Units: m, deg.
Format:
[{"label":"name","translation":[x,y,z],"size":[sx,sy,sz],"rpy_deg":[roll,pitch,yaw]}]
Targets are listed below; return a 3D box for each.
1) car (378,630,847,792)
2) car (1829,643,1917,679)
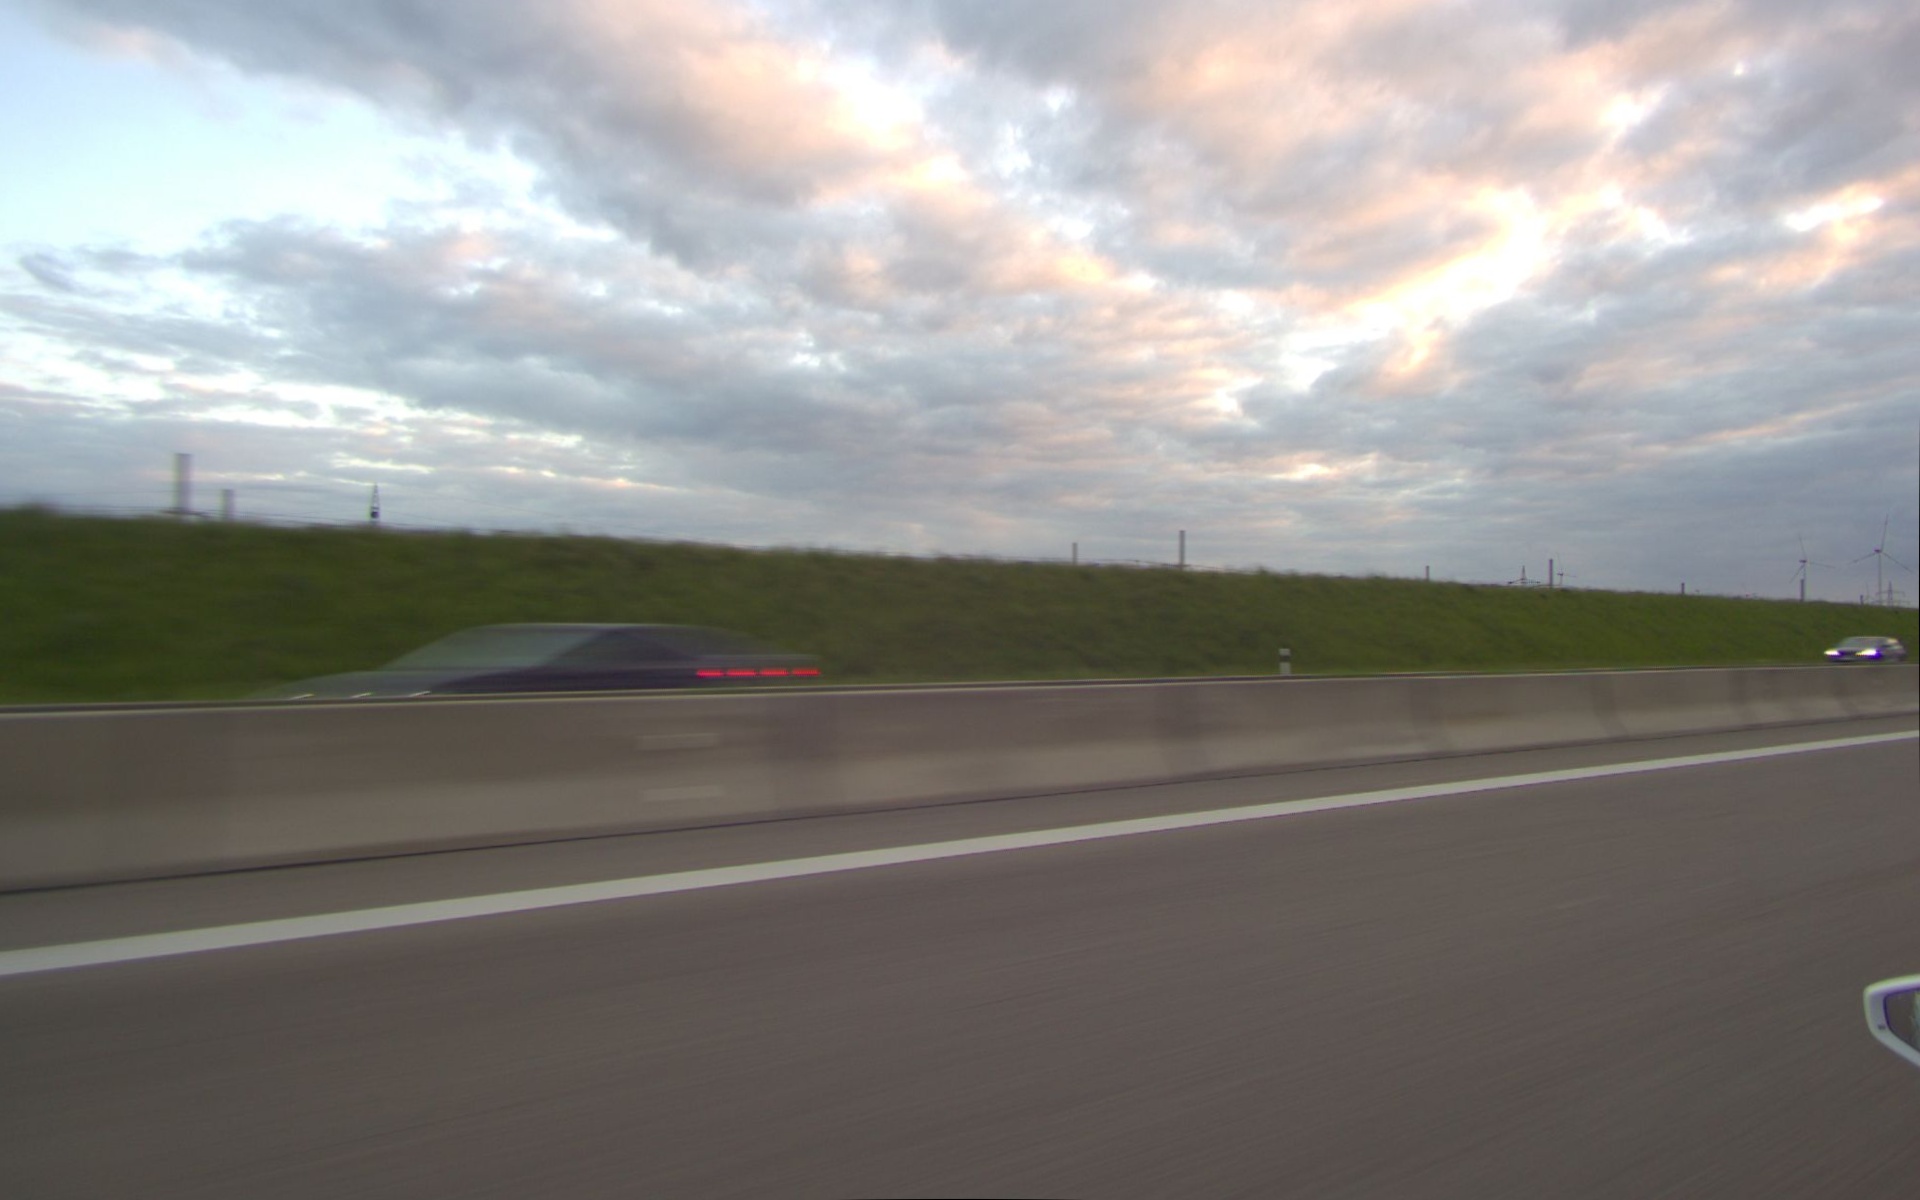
[{"label":"car","translation":[-3.581,1.045,10.641],"size":[4.443,1.403,1.738],"rpy_deg":[2,-2,-31]},{"label":"car","translation":[42.724,2.816,46.996],"size":[4.530,1.574,1.852],"rpy_deg":[2,-2,-32]}]
